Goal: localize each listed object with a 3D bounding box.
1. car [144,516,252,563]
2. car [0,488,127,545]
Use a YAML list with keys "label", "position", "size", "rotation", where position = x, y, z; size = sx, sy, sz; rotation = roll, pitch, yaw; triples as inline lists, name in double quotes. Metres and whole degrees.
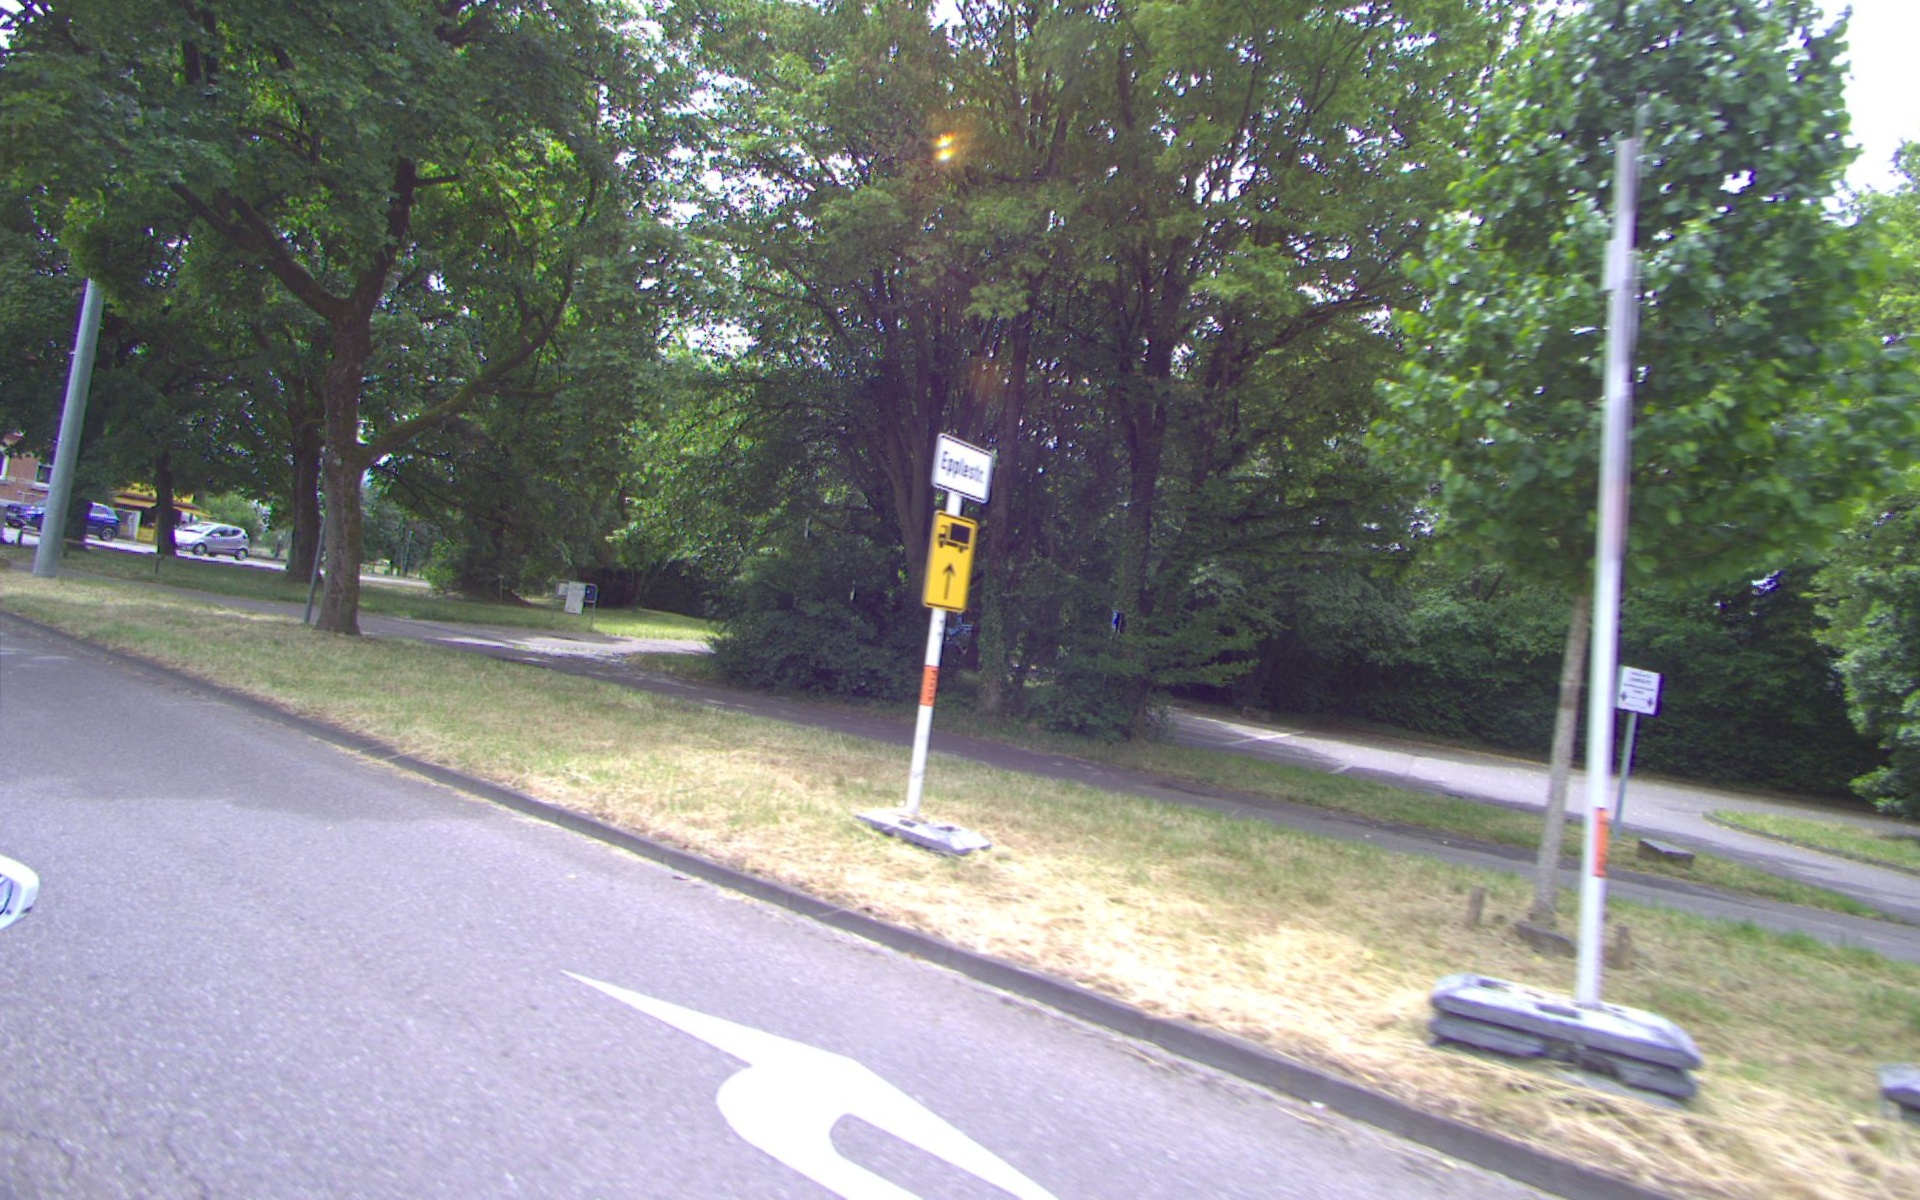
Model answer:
- label: "car"
  position: [-35.215, -2.765, 46.629]
  size: [1.962, 1.548, 3.477]
  rotation: [8, -2, 8]
- label: "car"
  position: [-38.553, -3.561, 43.128]
  size: [1.962, 1.666, 3.863]
  rotation: [8, -2, 13]
